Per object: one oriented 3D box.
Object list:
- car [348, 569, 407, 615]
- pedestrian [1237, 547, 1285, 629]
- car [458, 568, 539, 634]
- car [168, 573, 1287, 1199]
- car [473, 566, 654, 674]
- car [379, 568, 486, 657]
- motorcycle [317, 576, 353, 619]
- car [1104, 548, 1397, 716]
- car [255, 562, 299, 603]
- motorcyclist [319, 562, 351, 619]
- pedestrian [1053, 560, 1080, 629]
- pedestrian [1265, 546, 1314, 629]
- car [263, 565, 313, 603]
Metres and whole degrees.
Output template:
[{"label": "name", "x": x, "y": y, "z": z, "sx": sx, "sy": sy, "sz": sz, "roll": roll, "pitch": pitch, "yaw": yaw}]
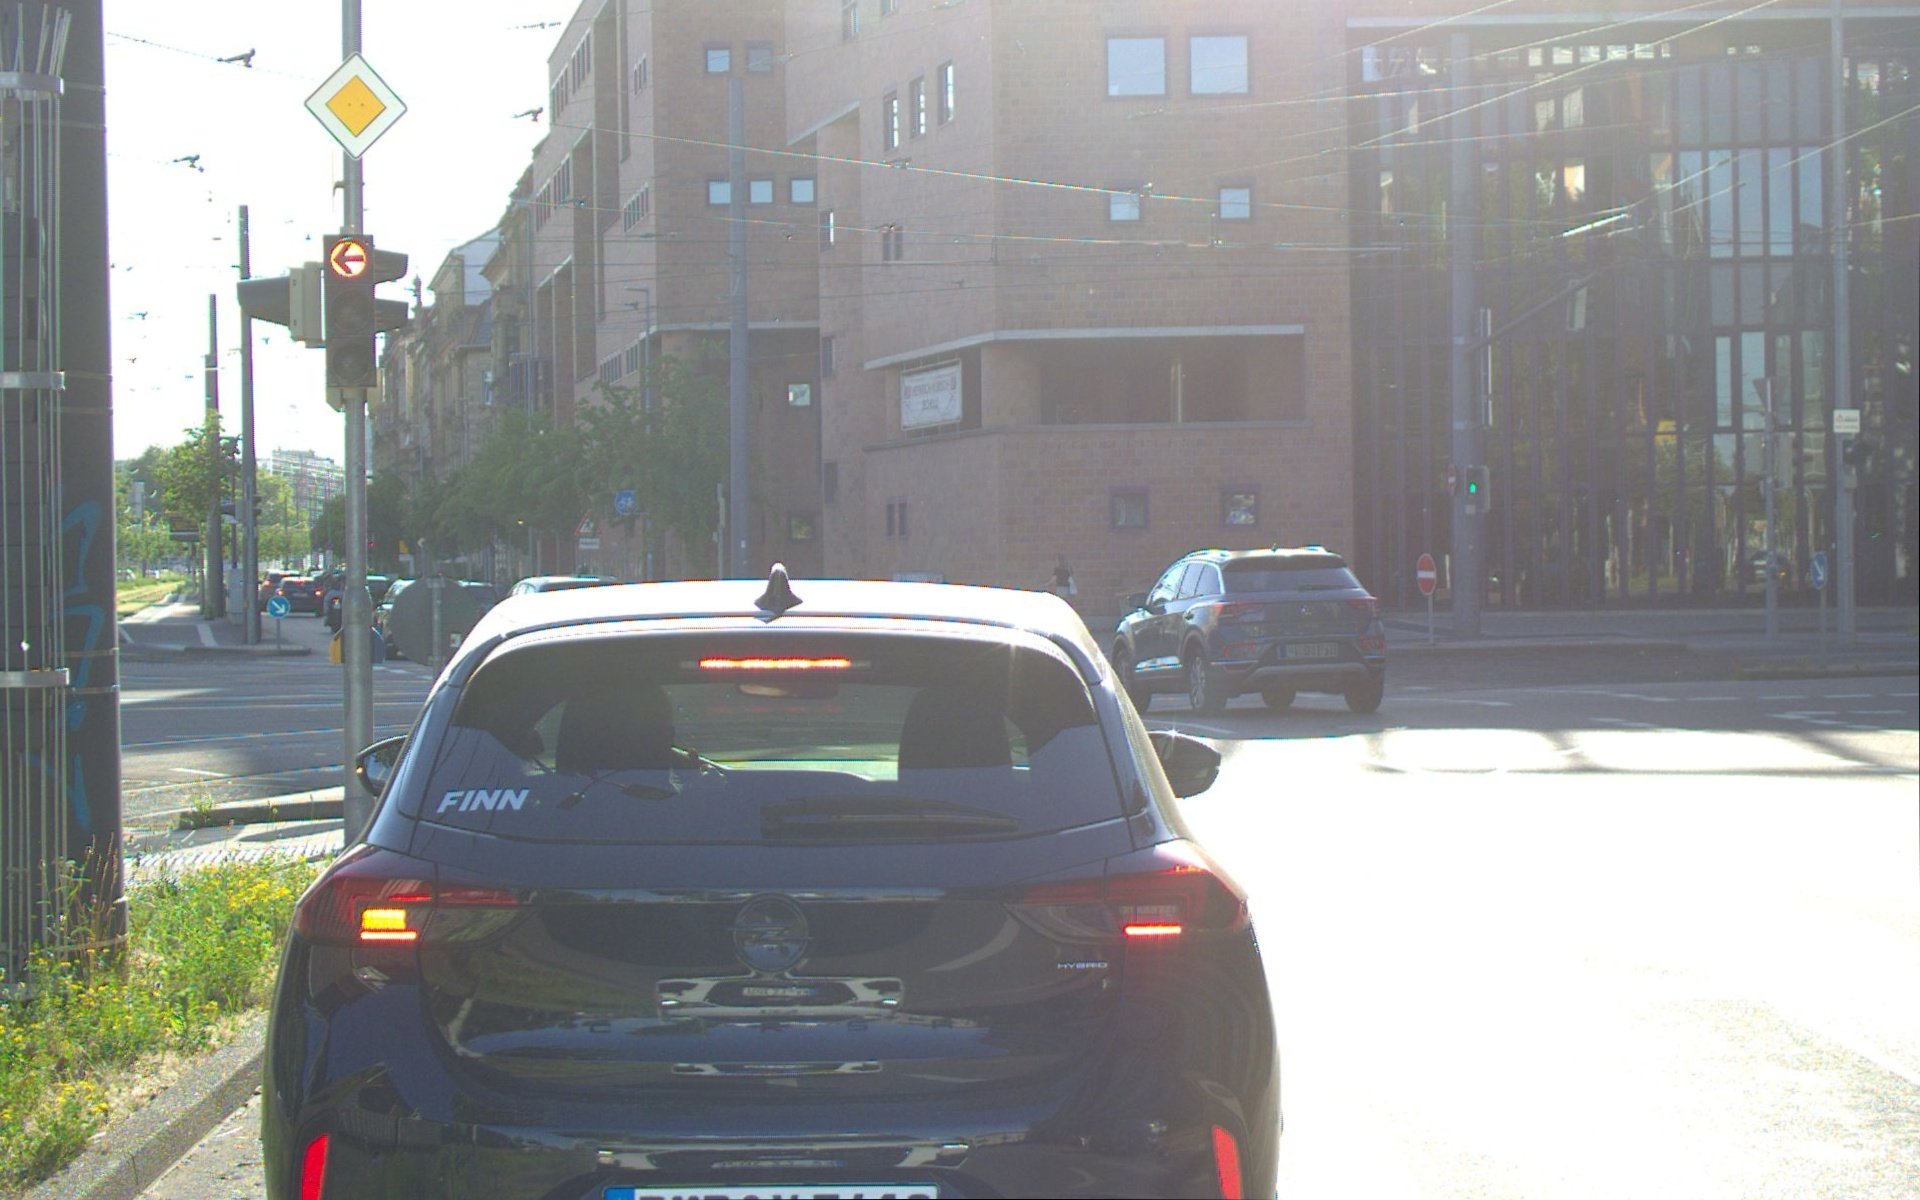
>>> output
[{"label": "car", "x": -18.926, "y": -0.271, "z": 111.747, "sx": 1.807, "sy": 1.452, "sz": 4.001, "roll": 0, "pitch": 1, "yaw": -9}, {"label": "pedestrian", "x": 5.942, "y": -0.239, "z": 67.891, "sx": 0.900, "sy": 1.611, "sz": 0.560, "roll": -1, "pitch": 1, "yaw": 8}, {"label": "car", "x": -10.737, "y": -0.001, "z": 80.221, "sx": 1.807, "sy": 1.452, "sz": 4.001, "roll": 0, "pitch": 1, "yaw": -7}, {"label": "car", "x": -0.319, "y": 0.680, "z": 7.096, "sx": 1.649, "sy": 1.428, "sz": 4.000, "roll": -1, "pitch": 1, "yaw": 1}, {"label": "car", "x": -5.631, "y": 0.245, "z": 48.424, "sx": 1.685, "sy": 1.428, "sz": 4.154, "roll": -1, "pitch": 1, "yaw": -19}, {"label": "car", "x": -9.714, "y": 0.200, "z": 63.146, "sx": 1.811, "sy": 1.487, "sz": 4.497, "roll": -2, "pitch": 1, "yaw": -9}, {"label": "motorcycle", "x": -16.917, "y": -0.071, "z": 93.074, "sx": 0.775, "sy": 1.111, "sz": 1.969, "roll": -1, "pitch": 1, "yaw": -6}, {"label": "car", "x": 2.741, "y": 0.266, "z": 33.296, "sx": 1.744, "sy": 1.499, "sz": 3.881, "roll": -1, "pitch": 1, "yaw": -12}, {"label": "car", "x": -27.935, "y": -0.718, "z": 140.573, "sx": 1.737, "sy": 1.645, "sz": 4.001, "roll": -1, "pitch": 1, "yaw": -12}, {"label": "motorcyclist", "x": -16.915, "y": -0.267, "z": 93.044, "sx": 0.744, "sy": 1.525, "sz": 1.021, "roll": -1, "pitch": 1, "yaw": -6}, {"label": "pedestrian", "x": 2.201, "y": -0.121, "z": 71.190, "sx": 0.529, "sy": 1.425, "sz": 0.598, "roll": -1, "pitch": 1, "yaw": -1}, {"label": "pedestrian", "x": 6.438, "y": -0.247, "z": 67.208, "sx": 0.900, "sy": 1.611, "sz": 0.560, "roll": -1, "pitch": 1, "yaw": 8}, {"label": "car", "x": -24.482, "y": -0.608, "z": 125.182, "sx": 1.737, "sy": 1.345, "sz": 4.001, "roll": -1, "pitch": 1, "yaw": -12}]
